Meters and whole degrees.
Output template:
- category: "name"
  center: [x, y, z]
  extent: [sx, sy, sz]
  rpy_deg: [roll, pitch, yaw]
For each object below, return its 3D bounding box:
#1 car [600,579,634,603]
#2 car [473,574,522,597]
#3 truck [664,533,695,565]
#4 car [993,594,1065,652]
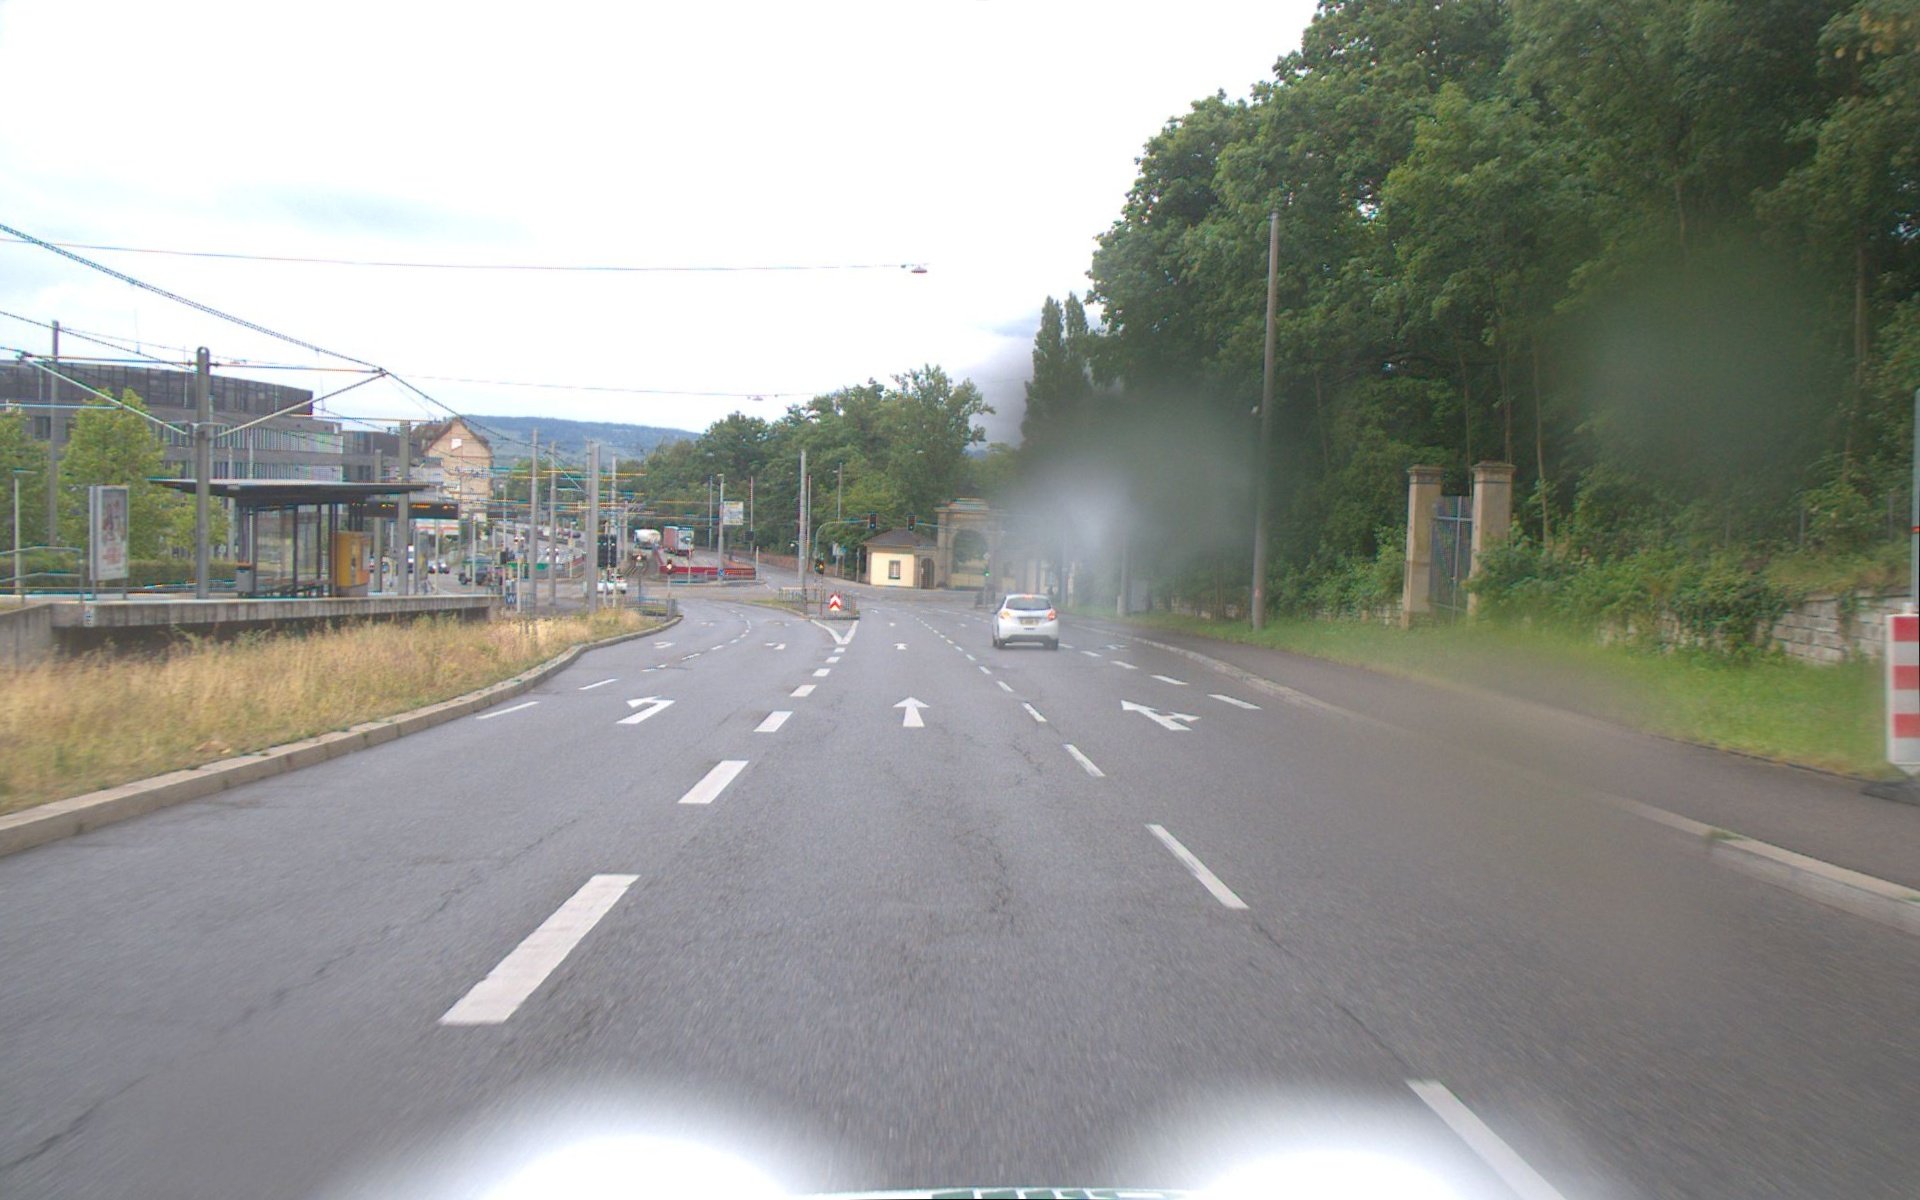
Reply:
- category: "car"
  center: [-25.934, -0.698, 124.998]
  extent: [1.797, 1.634, 3.974]
  rpy_deg: [2, 1, -22]
- category: "car"
  center: [-37.484, -1.172, 134.095]
  extent: [3.928, 1.735, 1.989]
  rpy_deg: [2, 1, 41]
- category: "truck"
  center: [-43.084, -7.768, 253.744]
  extent: [3.358, 4.649, 11.243]
  rpy_deg: [4, 0, -15]
- category: "car"
  center: [1.874, 0.609, 45.811]
  extent: [1.830, 1.537, 3.899]
  rpy_deg: [0, 0, 0]
